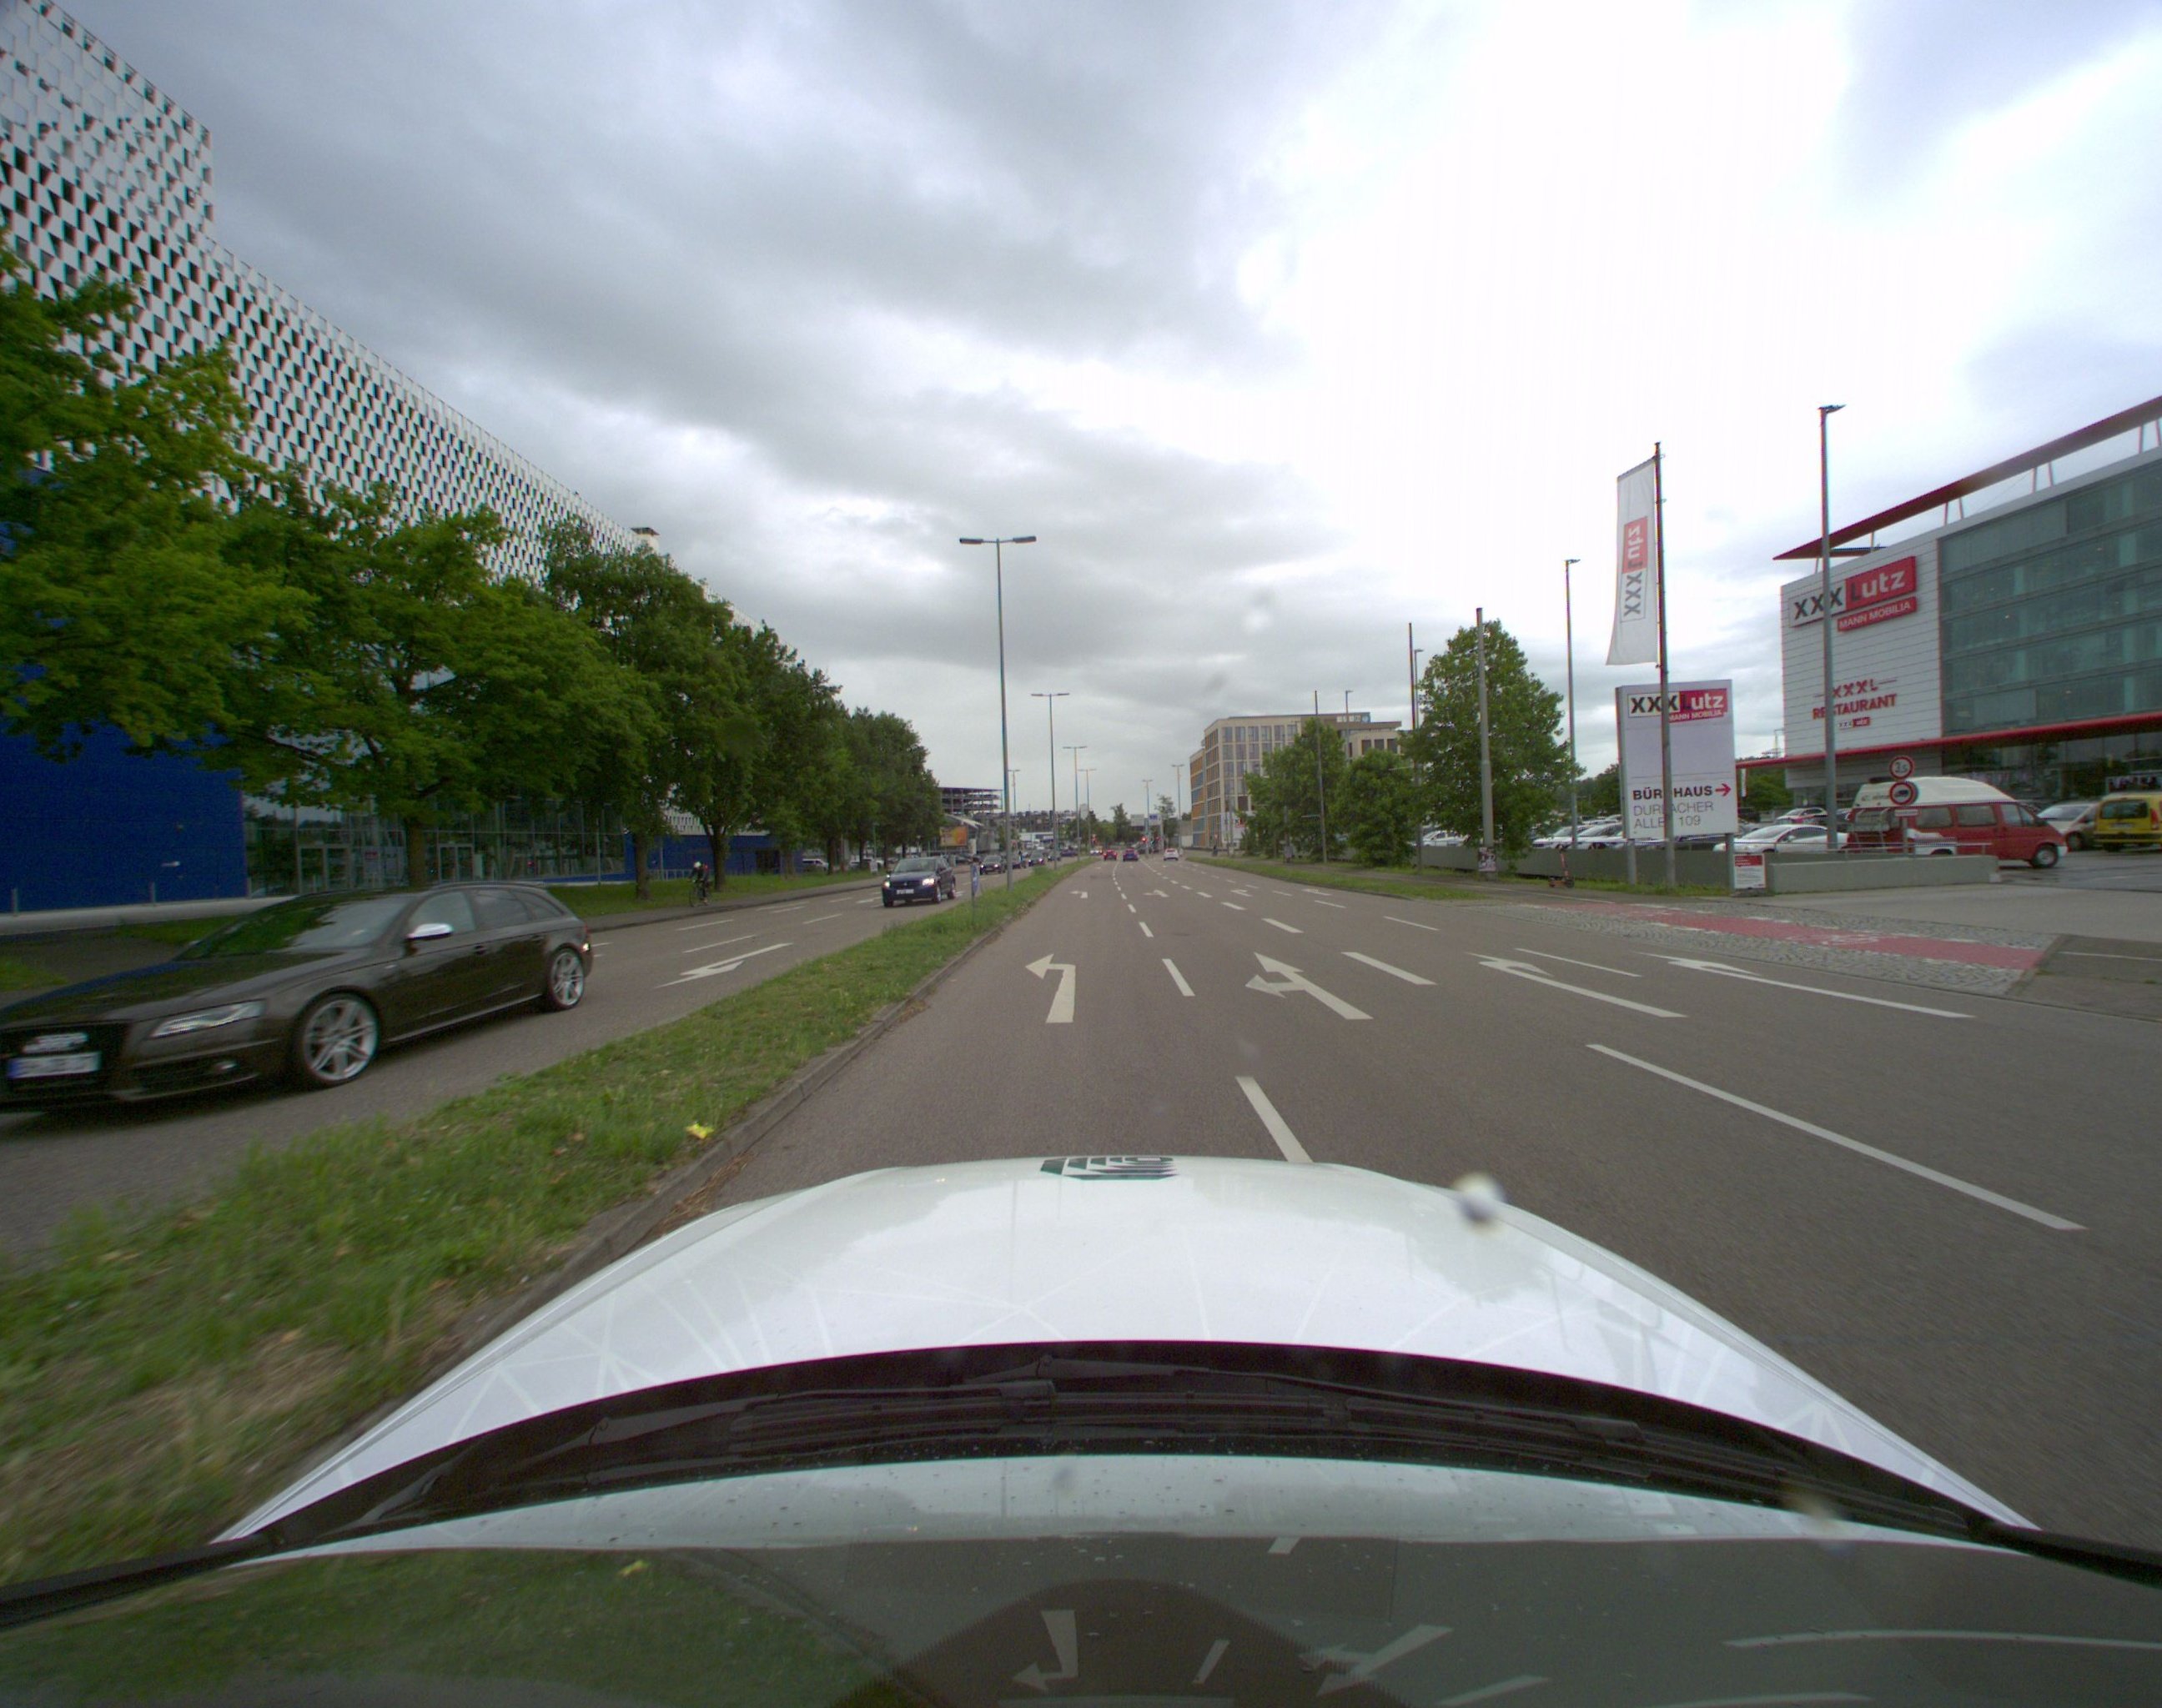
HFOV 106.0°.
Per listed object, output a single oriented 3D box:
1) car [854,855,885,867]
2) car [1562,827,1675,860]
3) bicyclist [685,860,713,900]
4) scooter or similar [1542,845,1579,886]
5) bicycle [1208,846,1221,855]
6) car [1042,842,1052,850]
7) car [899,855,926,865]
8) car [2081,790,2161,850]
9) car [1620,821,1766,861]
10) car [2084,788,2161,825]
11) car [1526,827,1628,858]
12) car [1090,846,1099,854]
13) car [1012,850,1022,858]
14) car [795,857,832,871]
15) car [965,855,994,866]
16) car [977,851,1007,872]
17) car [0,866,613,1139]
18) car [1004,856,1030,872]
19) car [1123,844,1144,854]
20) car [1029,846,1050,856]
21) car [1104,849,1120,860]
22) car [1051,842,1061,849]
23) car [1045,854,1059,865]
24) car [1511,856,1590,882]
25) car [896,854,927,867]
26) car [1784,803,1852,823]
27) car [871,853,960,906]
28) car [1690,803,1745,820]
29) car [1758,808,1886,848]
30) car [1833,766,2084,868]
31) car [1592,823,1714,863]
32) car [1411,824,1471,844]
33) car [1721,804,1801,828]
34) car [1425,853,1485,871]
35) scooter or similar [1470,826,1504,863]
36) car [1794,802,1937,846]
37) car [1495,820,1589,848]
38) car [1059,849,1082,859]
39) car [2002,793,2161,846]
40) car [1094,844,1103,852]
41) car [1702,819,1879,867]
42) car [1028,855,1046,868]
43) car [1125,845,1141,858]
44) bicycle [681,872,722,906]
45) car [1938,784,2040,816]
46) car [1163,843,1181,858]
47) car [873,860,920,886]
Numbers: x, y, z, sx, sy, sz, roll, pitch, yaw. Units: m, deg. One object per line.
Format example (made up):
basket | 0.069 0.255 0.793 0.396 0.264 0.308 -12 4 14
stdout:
car | -34.683 1.165 133.647 4.423 1.711 1.998 -2 4 -4
car | 24.633 -0.503 37.420 4.041 1.350 1.835 -2 2 0
bicyclist | -15.581 1.044 33.247 0.638 1.577 1.000 -1 0 1
scooter or similar | 14.530 0.324 24.714 0.369 1.191 1.248 -2 1 1
bicycle | 19.226 -0.476 117.173 0.705 1.295 1.990 -2 1 -34
car | -8.502 -2.079 205.455 1.766 1.705 3.925 -2 2 7
car | -30.161 1.029 145.593 4.408 1.660 1.997 -2 0 -5
car | 34.042 -1.114 25.317 3.721 1.767 1.735 -2 2 2
car | 24.519 -0.536 32.755 4.448 1.419 1.869 -2 2 2
car | 49.404 -2.210 37.495 3.969 1.610 1.884 -2 2 3
car | 24.581 -0.592 40.451 4.041 1.350 1.764 -2 2 0
car | 2.786 -0.858 164.952 1.594 1.453 3.327 -2 2 3
car | -12.310 -0.040 156.704 1.372 1.326 3.022 -3 2 -12
car | -42.742 1.554 130.206 5.120 1.963 1.879 -2 3 -3
car | -16.359 1.008 131.182 4.408 1.660 1.997 -2 0 -5
car | -7.117 0.569 65.535 1.751 1.453 4.003 -4 0 2
car | -6.191 0.929 7.043 1.879 1.436 4.425 -4 0 -4
car | -6.598 1.020 84.106 1.763 1.452 4.412 -4 0 6
car | 9.659 -0.931 149.031 3.668 1.771 1.743 -2 2 -4
car | -8.203 -0.539 161.485 3.977 1.789 1.846 -2 2 -3
car | 4.285 0.052 113.316 1.981 1.428 4.241 -2 -1 0
car | -6.321 -2.155 205.429 1.766 1.705 3.925 -2 2 7
car | -4.312 0.819 121.407 1.926 1.455 4.178 -2 0 -2
car | 30.138 0.965 52.382 4.040 1.551 1.764 -1 0 0
car | -27.108 1.042 130.512 4.535 1.659 1.997 -3 1 -5
car | 56.044 -3.145 61.955 3.578 1.376 1.704 -2 2 3
car | -5.393 0.788 27.133 1.925 1.486 4.439 -4 0 0
car | 50.332 -3.348 64.452 3.241 1.229 1.463 -2 2 1
car | 34.371 -1.191 37.856 4.154 1.663 1.835 -2 0 3
car | 24.693 -1.037 23.092 4.704 2.578 2.172 -2 2 2
car | 24.646 -0.505 35.196 4.038 1.540 1.765 -2 2 2
car | 25.282 -1.417 57.232 3.507 1.307 1.604 -2 2 -4
car | 41.696 -2.345 49.993 3.554 1.296 1.668 -2 2 1
car | 30.478 0.667 66.427 4.038 1.350 1.765 -1 0 2
scooter or similar | 16.125 -0.377 32.363 0.646 1.421 1.824 -3 0 10
car | 33.991 -1.293 35.383 4.293 1.743 1.891 -2 2 3
car | 25.102 -1.123 44.434 4.139 1.350 1.810 -2 2 0
car | -1.881 -0.014 145.818 3.848 1.634 1.723 -2 2 -4
car | 34.517 -1.187 27.791 3.971 1.595 1.881 -2 2 2
car | 3.729 -1.236 173.071 1.594 1.453 3.327 -2 2 3
car | 24.300 -0.405 28.016 4.357 1.461 1.962 -2 2 2
car | -5.299 0.882 98.473 1.773 1.455 4.184 -4 1 1
car | 6.628 -0.288 104.318 1.828 1.514 4.002 -2 1 2
bicycle | -15.465 1.413 33.232 0.640 1.251 2.056 -1 1 1
car | 50.364 -2.985 45.220 3.551 1.587 1.742 -2 0 5
car | 11.439 -0.456 102.268 1.985 1.752 4.184 -2 0 3
car | -11.790 1.189 52.295 1.859 1.454 4.169 -4 0 1
